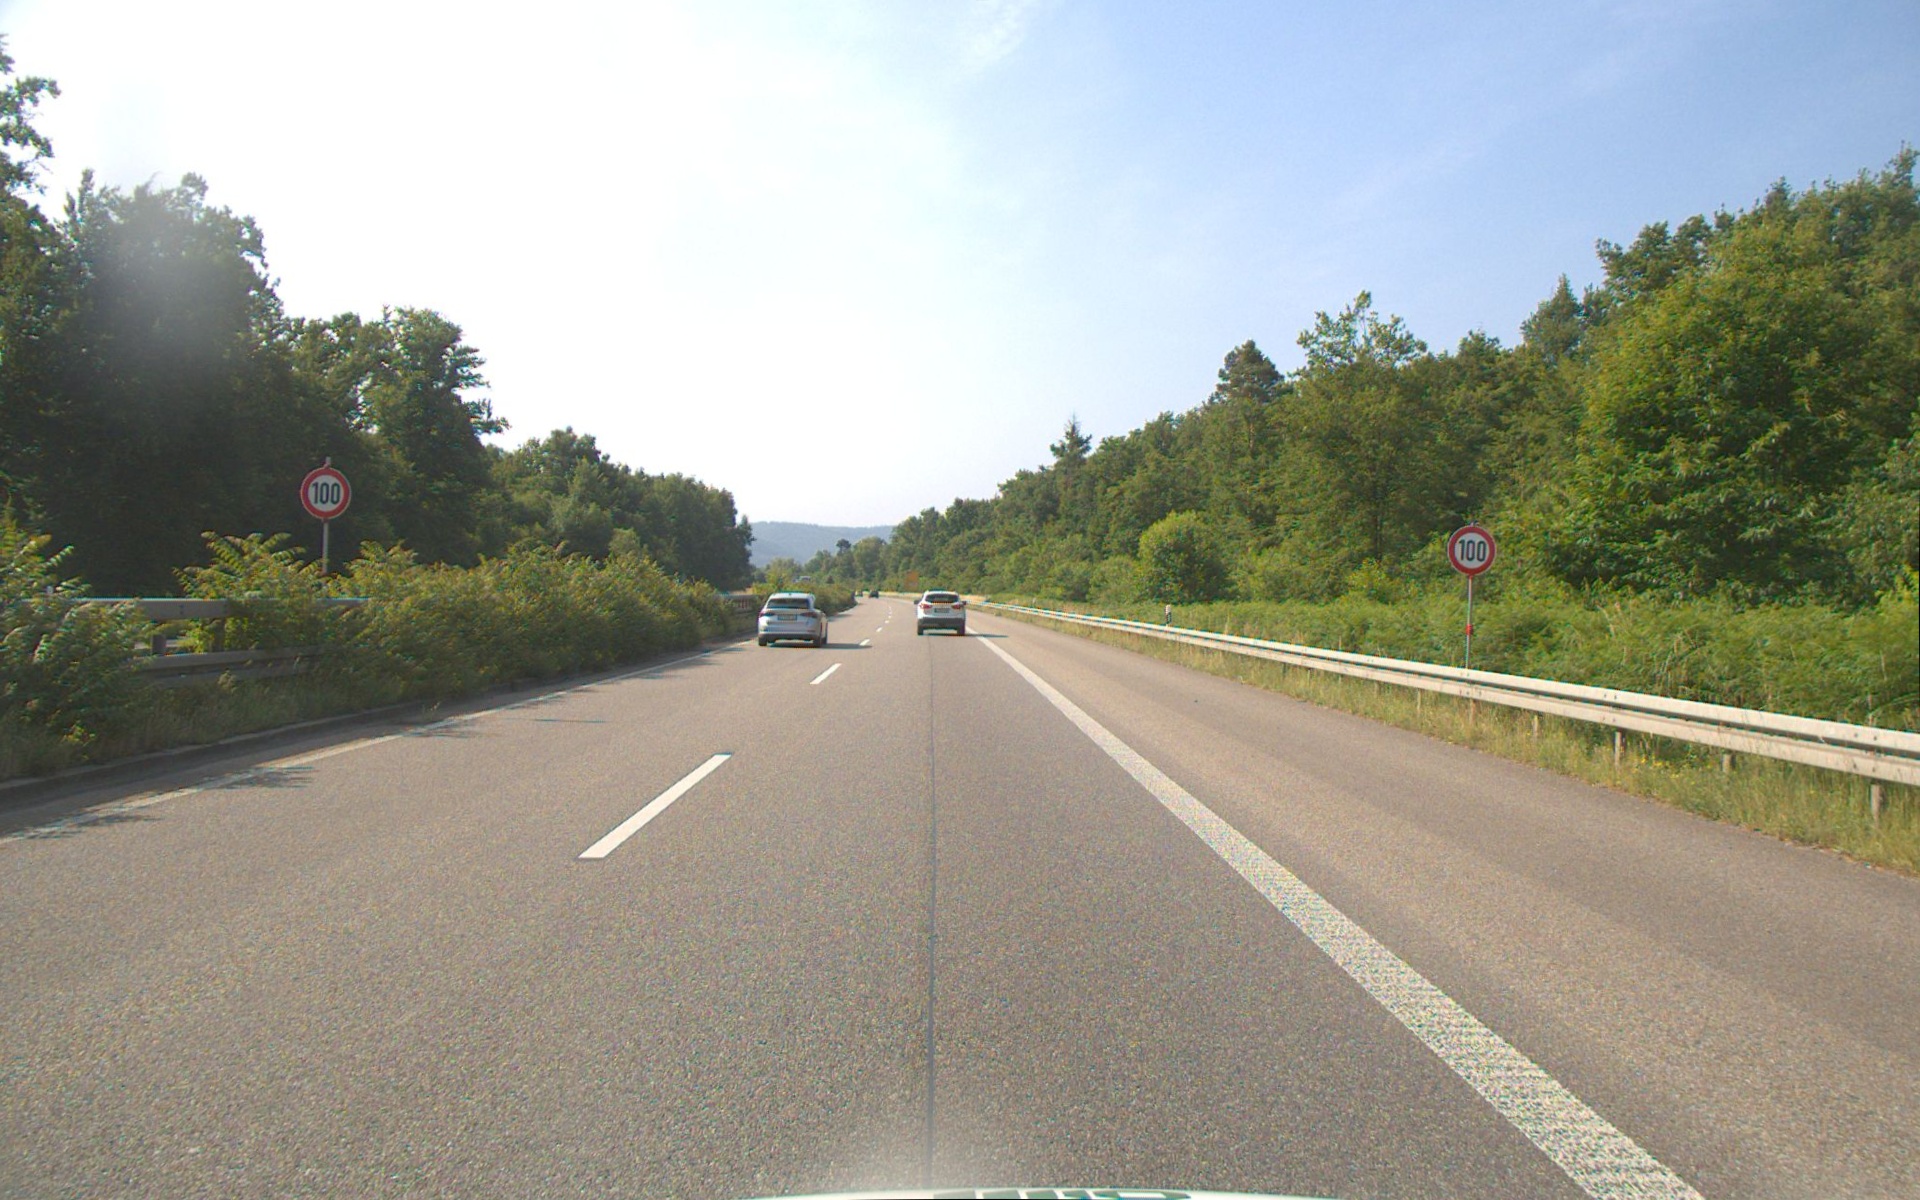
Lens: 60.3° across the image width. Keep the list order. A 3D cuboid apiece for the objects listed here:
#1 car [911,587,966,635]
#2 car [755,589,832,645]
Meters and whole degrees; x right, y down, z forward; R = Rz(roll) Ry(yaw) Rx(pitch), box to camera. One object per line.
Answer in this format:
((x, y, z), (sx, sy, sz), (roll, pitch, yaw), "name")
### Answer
((-0.837, 0.390, 61.458), (1.836, 1.613, 3.998), (2, 1, -3), "car")
((-4.699, 0.436, 47.253), (1.756, 1.463, 5.277), (0, 1, -1), "car")
